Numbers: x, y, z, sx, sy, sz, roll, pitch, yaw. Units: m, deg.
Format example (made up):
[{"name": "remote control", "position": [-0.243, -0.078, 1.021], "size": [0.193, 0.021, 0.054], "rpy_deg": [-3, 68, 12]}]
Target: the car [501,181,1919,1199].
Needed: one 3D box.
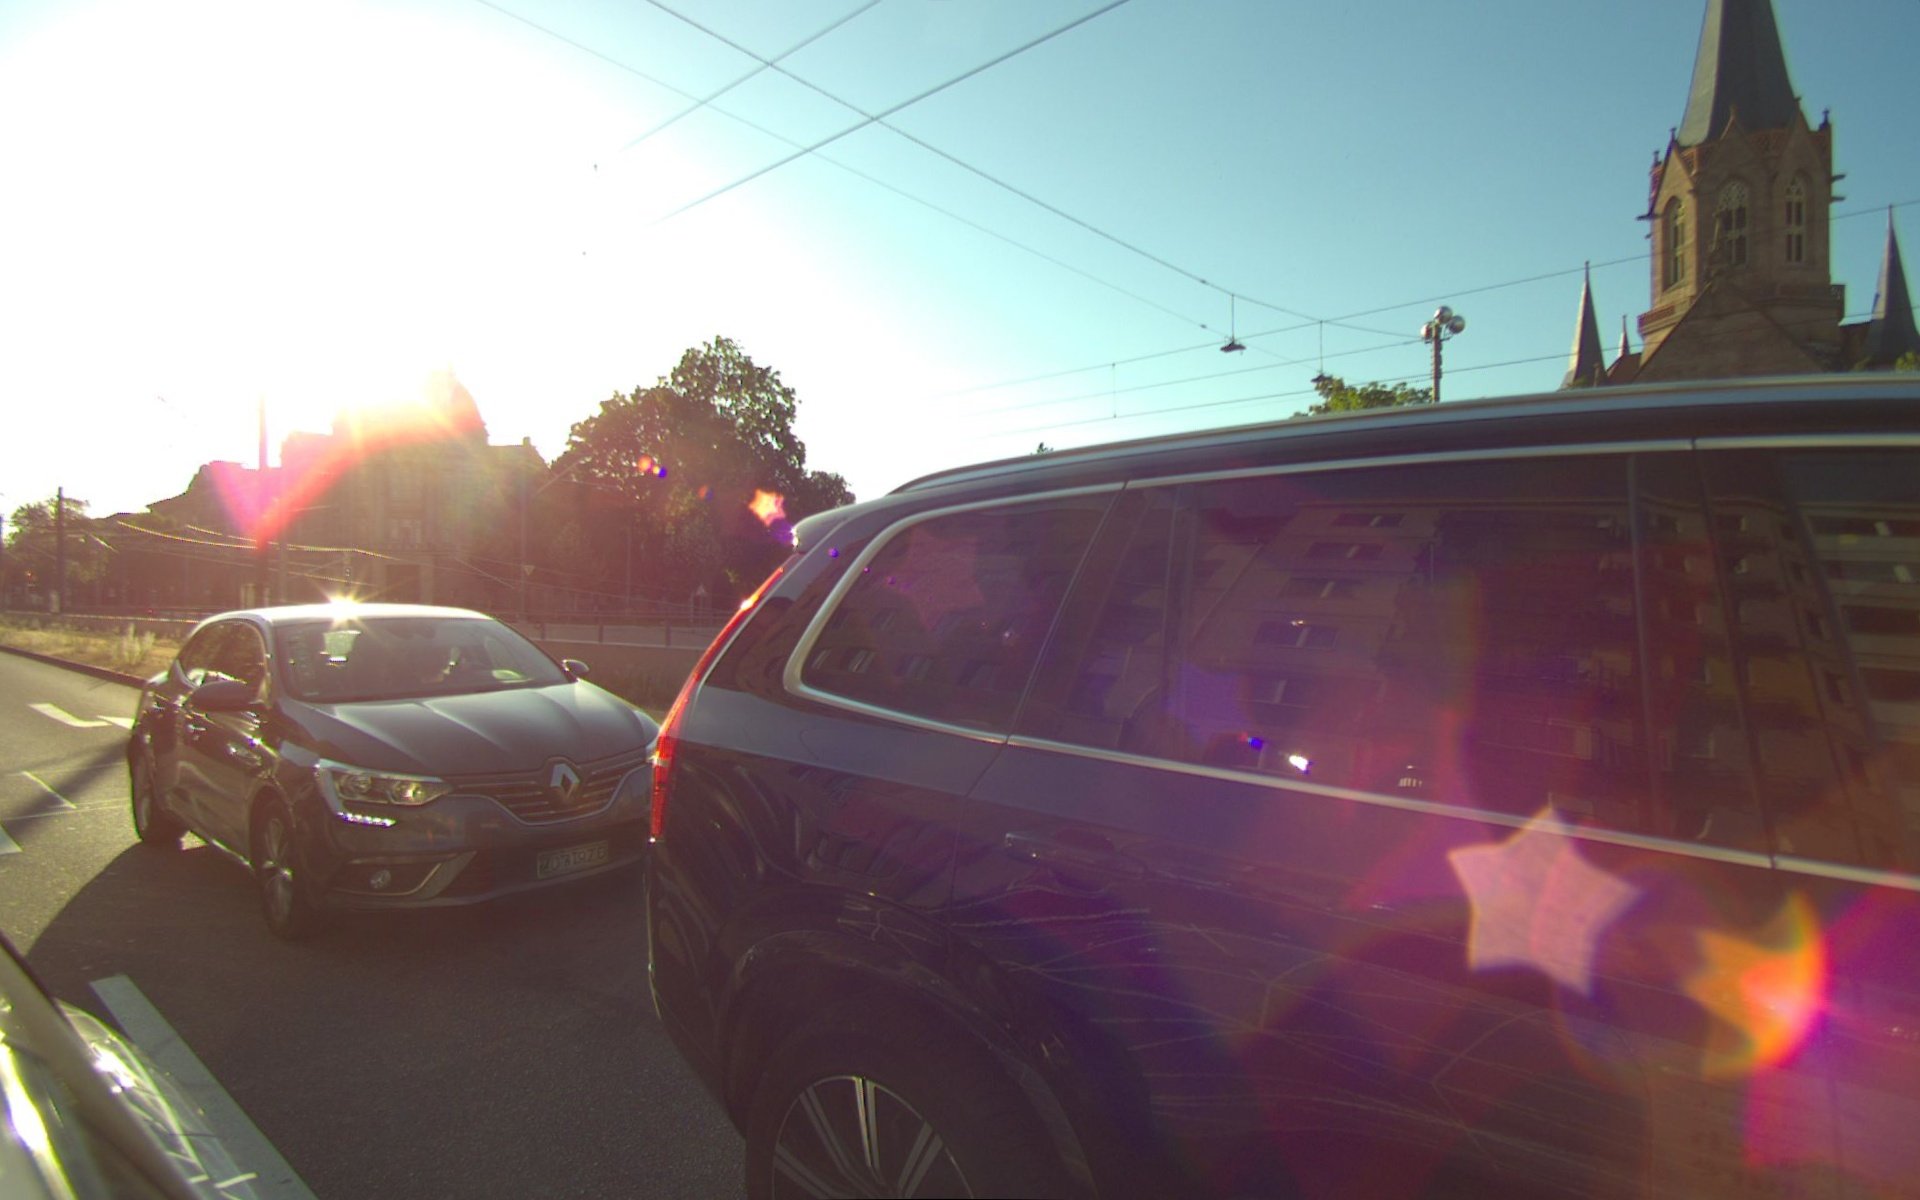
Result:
[{"name": "car", "position": [1.438, 0.494, 1.551], "size": [4.846, 1.725, 1.932], "rpy_deg": [-1, 1, 39]}]

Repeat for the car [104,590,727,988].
[{"name": "car", "position": [-3.230, 0.698, 5.663], "size": [3.917, 1.411, 1.792], "rpy_deg": [-1, 1, 41]}]

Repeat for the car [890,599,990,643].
[{"name": "car", "position": [-0.865, 0.841, 41.780], "size": [4.089, 1.708, 1.692], "rpy_deg": [-1, -1, 42]}]
